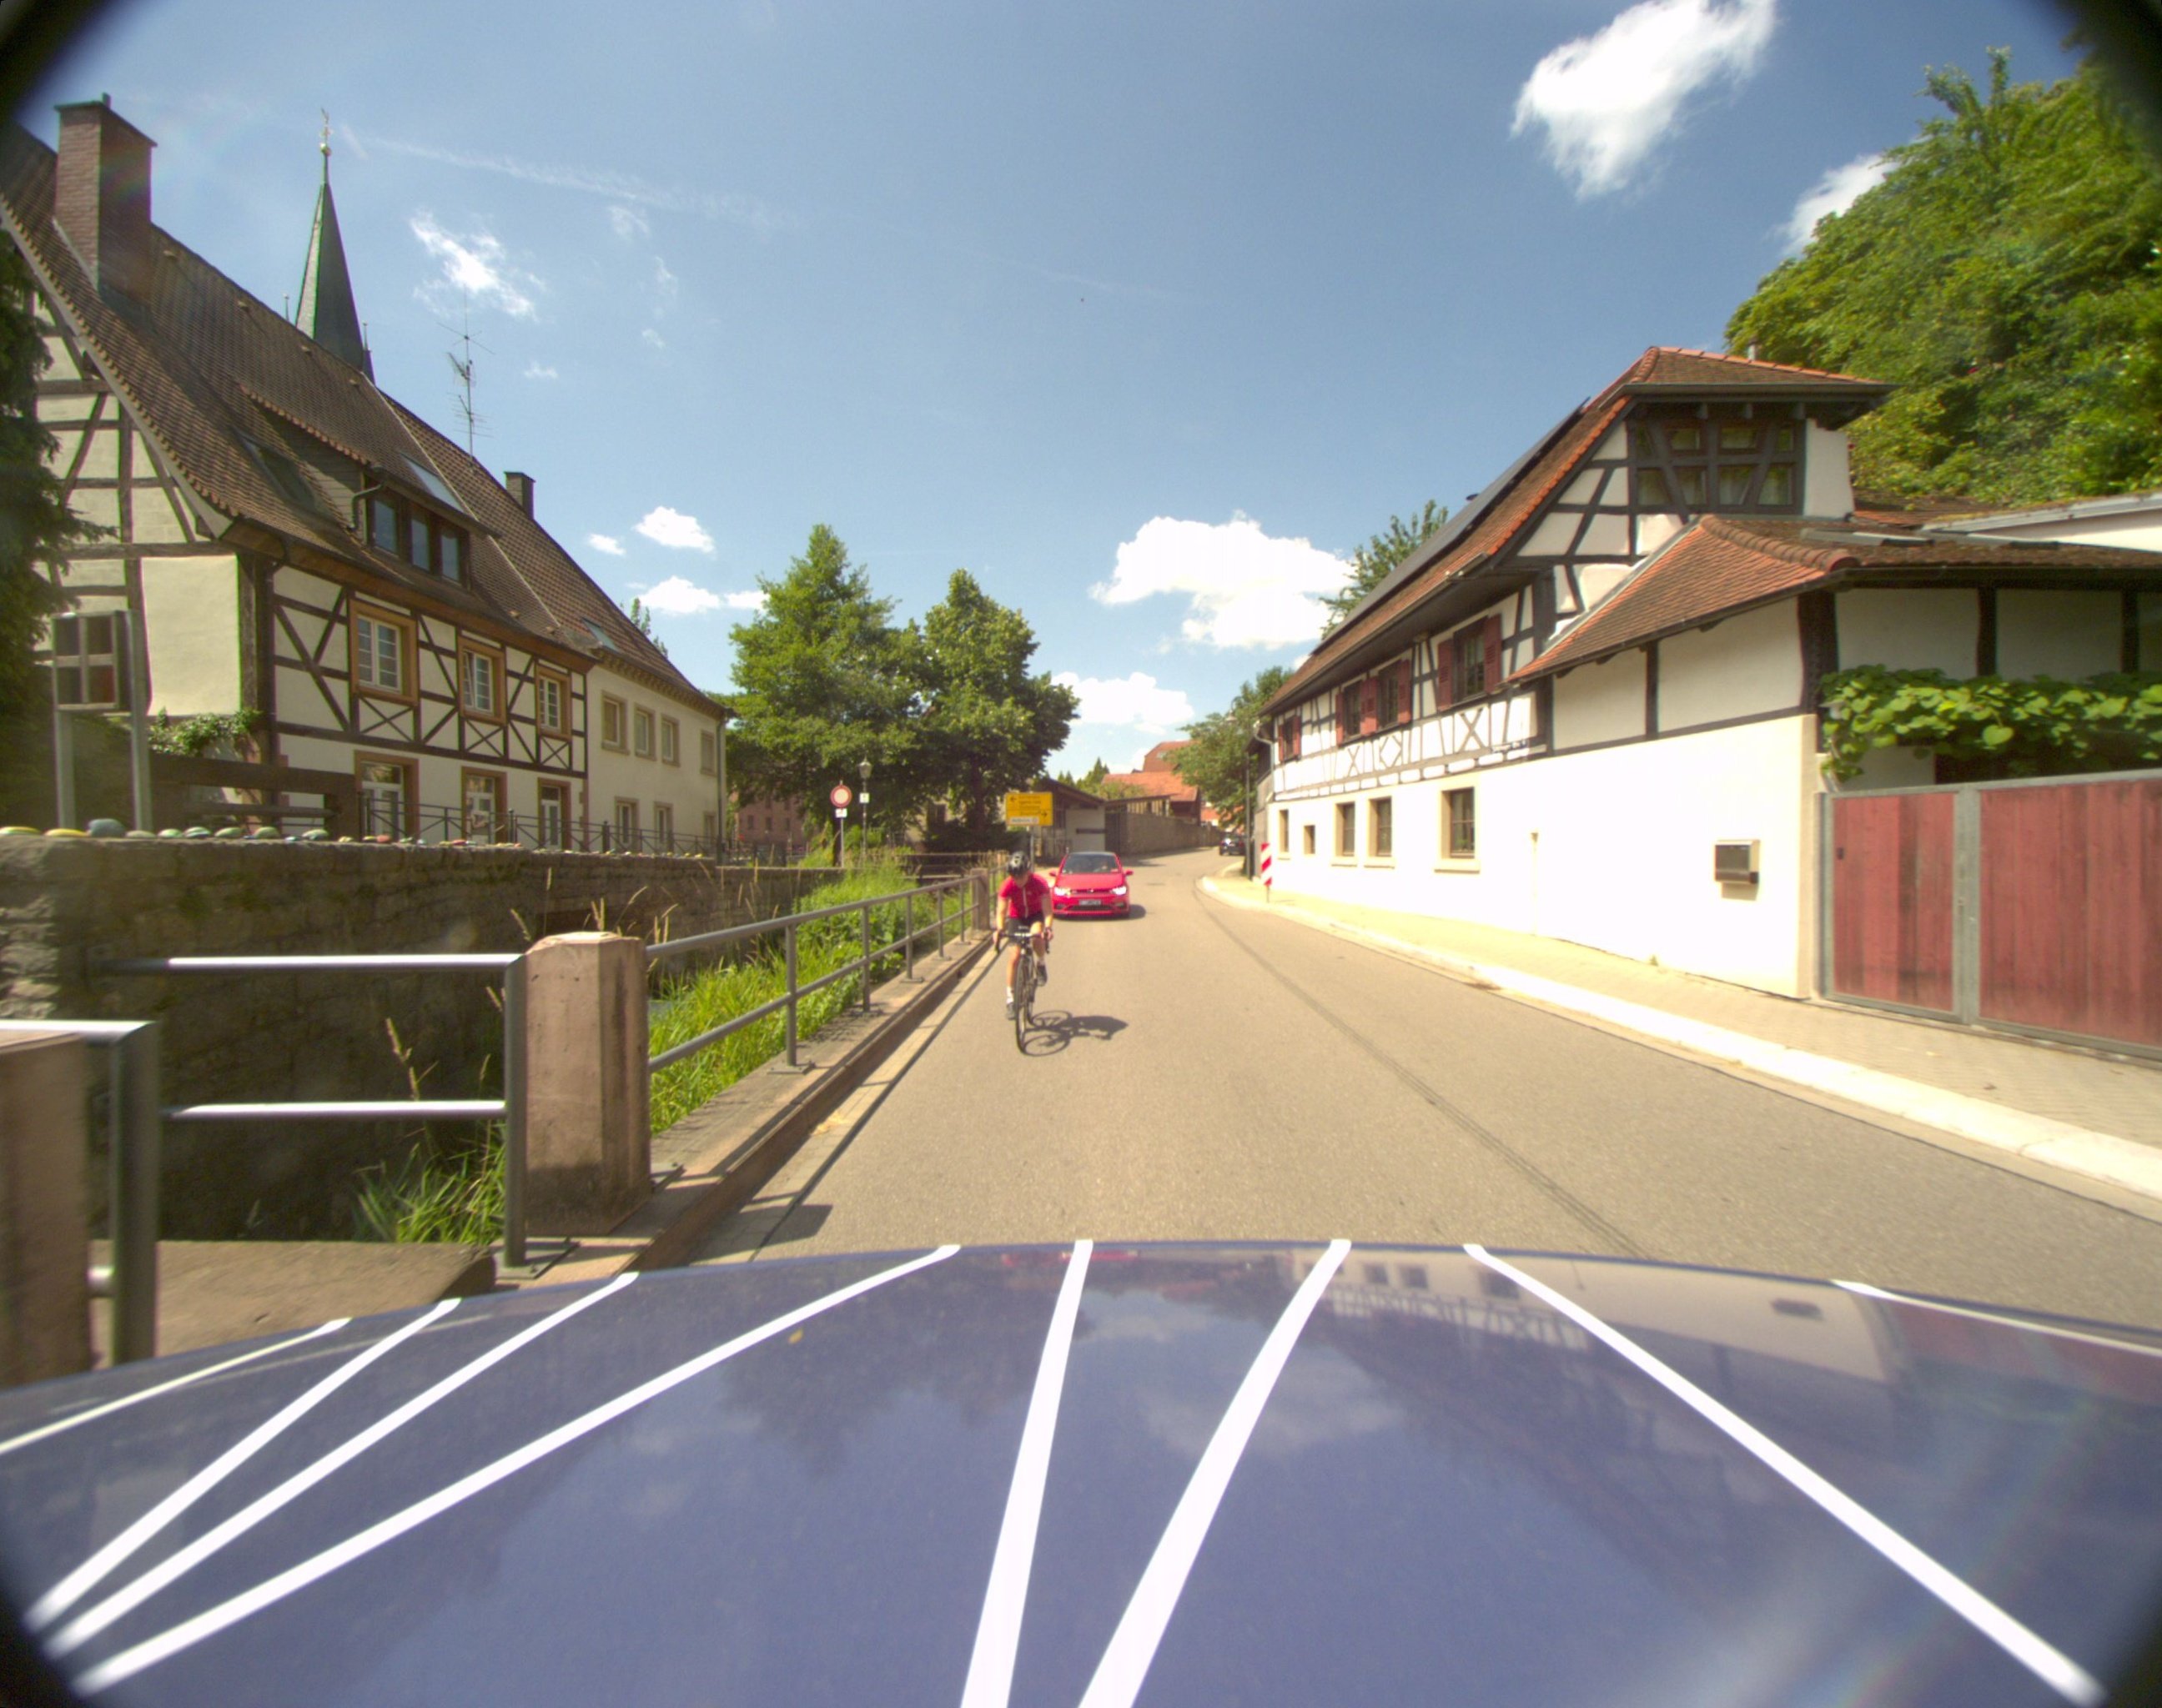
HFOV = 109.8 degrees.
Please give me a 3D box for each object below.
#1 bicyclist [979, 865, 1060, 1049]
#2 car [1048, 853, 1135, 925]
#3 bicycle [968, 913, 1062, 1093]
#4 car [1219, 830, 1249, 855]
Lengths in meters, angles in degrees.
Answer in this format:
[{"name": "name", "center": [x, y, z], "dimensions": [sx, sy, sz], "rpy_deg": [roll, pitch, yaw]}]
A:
[{"name": "bicyclist", "center": [-0.490, 0.809, 6.292], "dimensions": [0.532, 1.396, 0.755], "rpy_deg": [-3, 1, 1]}, {"name": "car", "center": [0.337, 0.723, 17.245], "dimensions": [1.669, 1.344, 3.494], "rpy_deg": [-2, 1, 5]}, {"name": "bicycle", "center": [-0.488, 1.132, 6.378], "dimensions": [0.531, 1.070, 2.054], "rpy_deg": [-3, 1, 1]}, {"name": "car", "center": [10.490, -0.839, 51.951], "dimensions": [1.701, 1.458, 4.437], "rpy_deg": [2, 4, 15]}]
